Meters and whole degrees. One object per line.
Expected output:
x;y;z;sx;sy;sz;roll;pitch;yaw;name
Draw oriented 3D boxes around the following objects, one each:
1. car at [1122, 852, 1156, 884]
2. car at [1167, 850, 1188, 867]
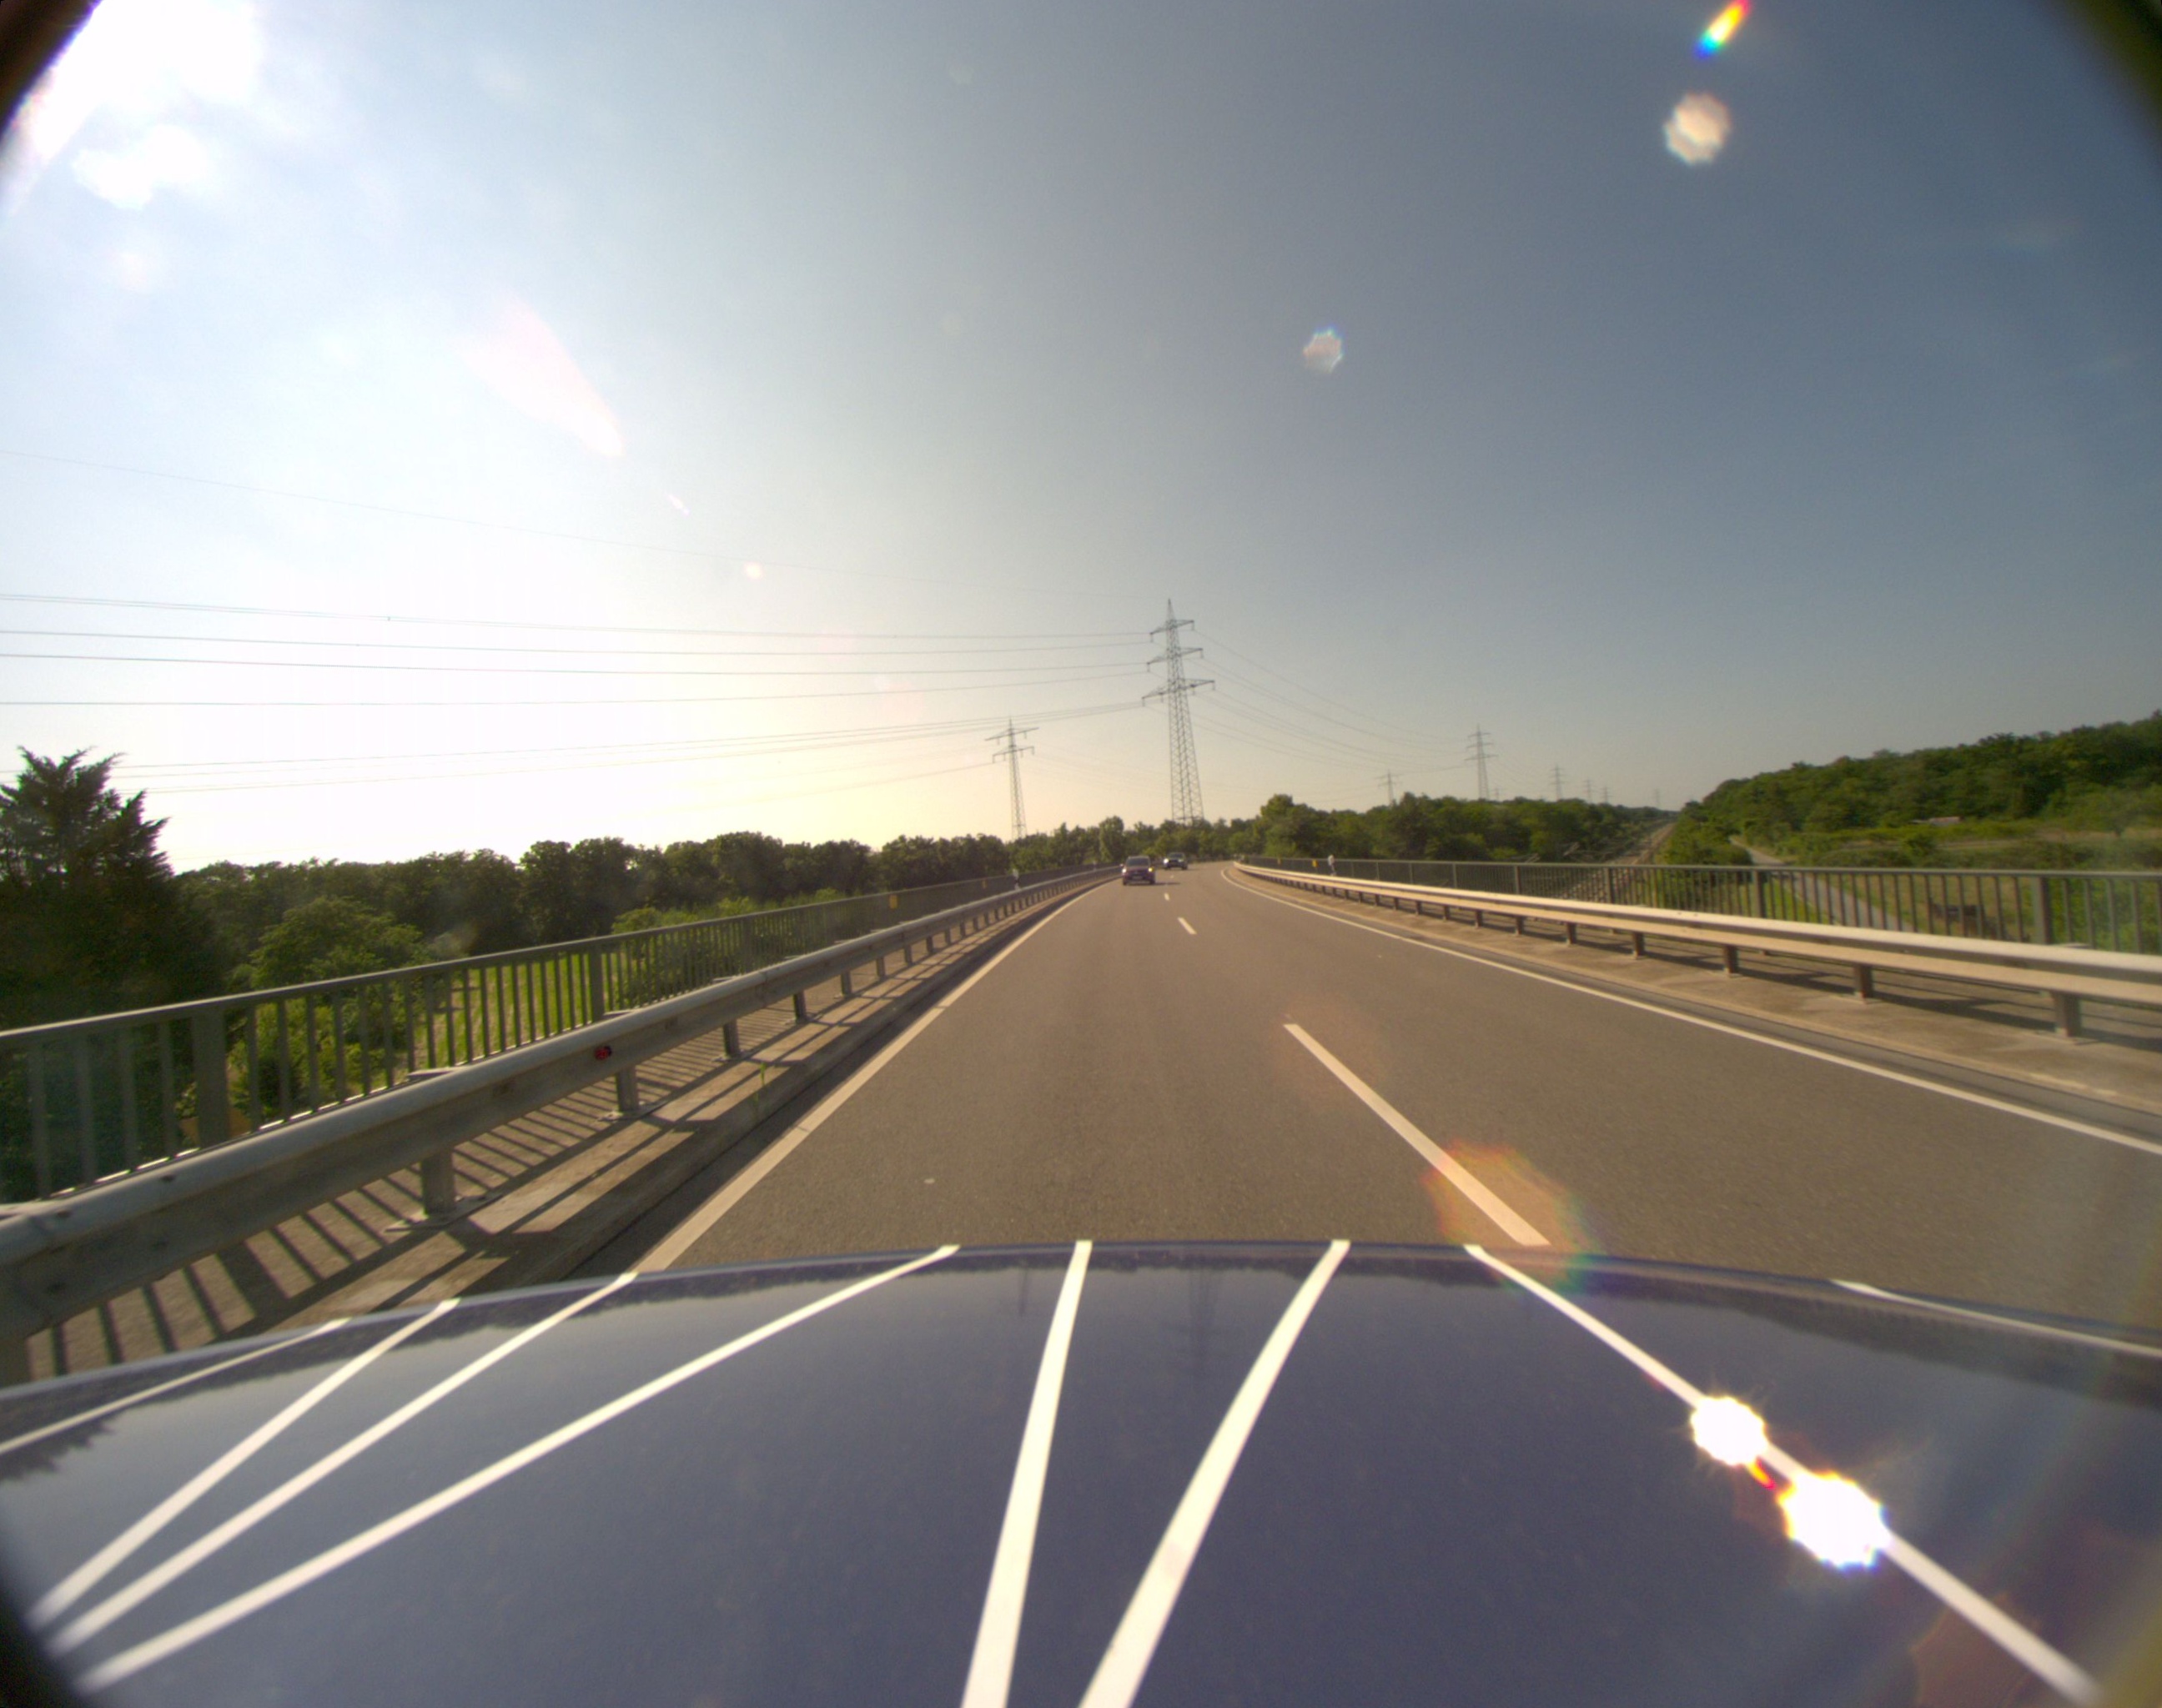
3.194;0.720;41.143;1.606;1.486;4.001;-3;1;7;car
9.426;0.400;73.911;1.605;1.486;4.003;-3;1;13;car
